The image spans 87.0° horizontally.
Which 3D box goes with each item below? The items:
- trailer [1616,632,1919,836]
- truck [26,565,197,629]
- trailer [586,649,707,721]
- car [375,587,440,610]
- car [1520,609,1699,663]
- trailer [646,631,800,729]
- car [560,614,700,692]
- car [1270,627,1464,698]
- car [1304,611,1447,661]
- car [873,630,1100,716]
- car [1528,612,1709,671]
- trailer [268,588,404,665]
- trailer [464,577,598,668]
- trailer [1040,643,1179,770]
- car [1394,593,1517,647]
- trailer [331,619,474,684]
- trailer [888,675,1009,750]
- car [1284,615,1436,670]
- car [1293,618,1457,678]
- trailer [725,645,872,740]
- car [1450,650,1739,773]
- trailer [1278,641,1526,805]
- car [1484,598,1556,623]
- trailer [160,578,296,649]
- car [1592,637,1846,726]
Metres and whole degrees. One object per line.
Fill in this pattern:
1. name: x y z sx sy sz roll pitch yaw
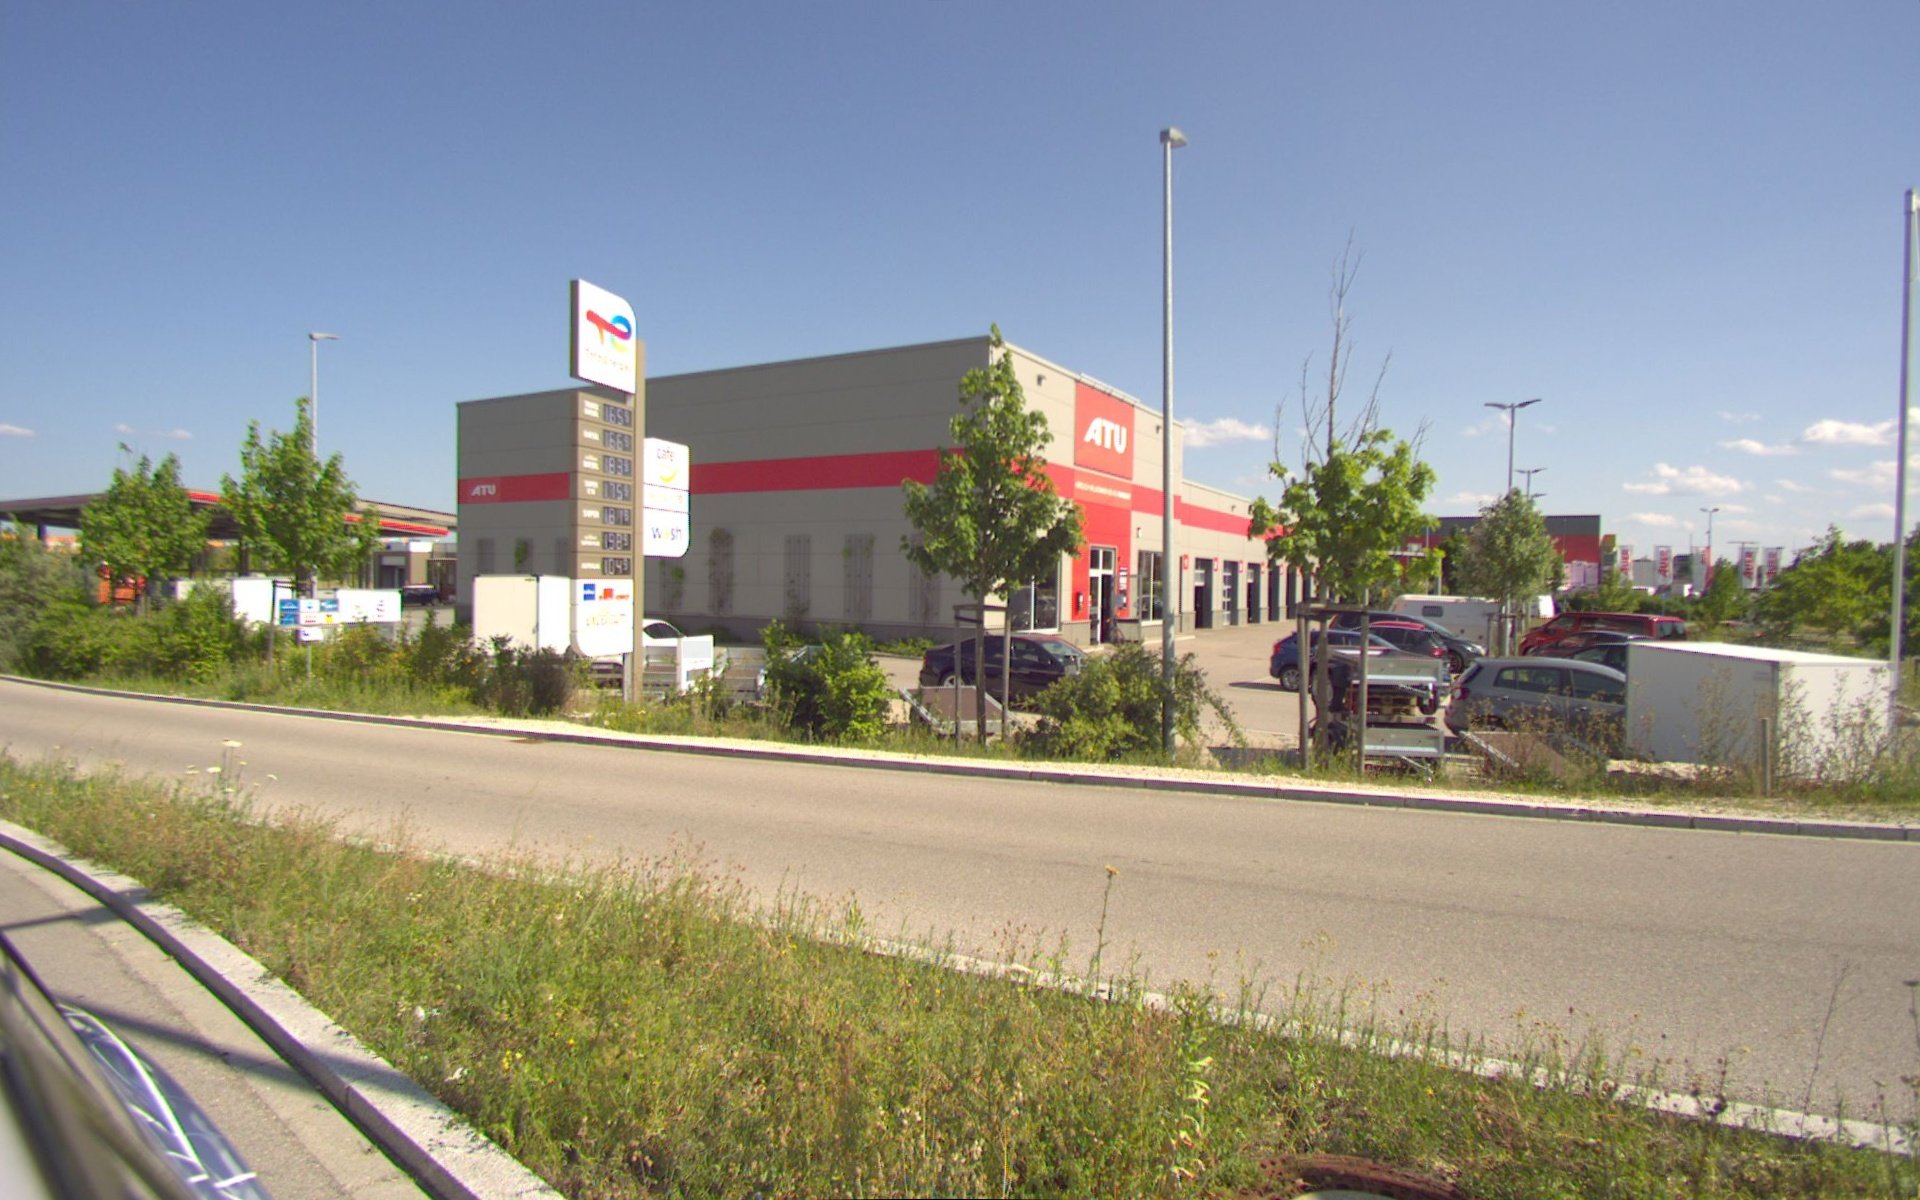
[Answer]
1. trailer: 9.988 1.428 12.146 1.782 1.785 3.698 -1 2 -1
2. truck: -46.806 -0.199 56.109 2.624 3.343 6.854 0 1 22
3. trailer: -5.852 1.561 19.147 1.303 1.094 2.773 0 1 3
4. car: -38.945 -0.128 71.388 1.695 1.586 3.637 0 1 40
5. car: 20.350 1.069 31.938 1.794 1.475 4.470 -1 1 -25
6. trailer: -4.252 1.391 18.609 1.533 1.495 3.178 0 1 13
7. car: -7.522 1.147 23.481 1.697 1.548 3.995 0 1 4
8. car: 9.419 1.387 23.453 3.984 1.475 1.807 0 -2 30
9. car: 13.336 1.112 32.526 3.990 1.475 1.804 0 1 35
10. car: 0.488 1.426 20.996 4.486 1.495 1.782 -1 0 35
11. car: 18.769 1.126 29.058 1.794 1.475 4.013 -1 1 -25
12. trailer: -17.328 0.701 28.248 1.976 2.029 2.731 0 1 6
13. trailer: -10.164 0.483 24.199 1.725 2.029 3.238 0 1 3
14. trailer: 2.321 1.633 16.557 1.684 1.462 3.698 -1 3 -1
15. car: 19.795 0.764 40.467 4.332 2.029 1.884 0 1 31
16. trailer: -14.889 1.333 27.241 1.581 1.521 3.593 -1 1 6
17. trailer: -0.150 1.832 16.889 1.841 0.888 2.836 -1 1 1
18. car: 12.079 1.233 30.606 3.990 1.475 1.804 0 1 35
19. car: 11.603 1.292 28.386 3.990 1.475 1.804 0 1 35
20. trailer: -2.739 1.538 17.705 1.378 1.332 2.895 0 1 18
21. car: 10.000 1.687 16.202 3.732 1.563 1.725 0 1 32
22. trailer: 5.927 1.563 14.081 1.782 1.785 3.697 -1 1 -1
23. car: 54.454 0.967 98.564 2.004 2.251 6.295 -1 1 -21
24. trailer: -22.076 0.360 30.663 1.969 2.029 3.211 -1 1 -5
25. car: 16.399 1.687 22.101 1.794 1.475 4.014 2 1 -25
